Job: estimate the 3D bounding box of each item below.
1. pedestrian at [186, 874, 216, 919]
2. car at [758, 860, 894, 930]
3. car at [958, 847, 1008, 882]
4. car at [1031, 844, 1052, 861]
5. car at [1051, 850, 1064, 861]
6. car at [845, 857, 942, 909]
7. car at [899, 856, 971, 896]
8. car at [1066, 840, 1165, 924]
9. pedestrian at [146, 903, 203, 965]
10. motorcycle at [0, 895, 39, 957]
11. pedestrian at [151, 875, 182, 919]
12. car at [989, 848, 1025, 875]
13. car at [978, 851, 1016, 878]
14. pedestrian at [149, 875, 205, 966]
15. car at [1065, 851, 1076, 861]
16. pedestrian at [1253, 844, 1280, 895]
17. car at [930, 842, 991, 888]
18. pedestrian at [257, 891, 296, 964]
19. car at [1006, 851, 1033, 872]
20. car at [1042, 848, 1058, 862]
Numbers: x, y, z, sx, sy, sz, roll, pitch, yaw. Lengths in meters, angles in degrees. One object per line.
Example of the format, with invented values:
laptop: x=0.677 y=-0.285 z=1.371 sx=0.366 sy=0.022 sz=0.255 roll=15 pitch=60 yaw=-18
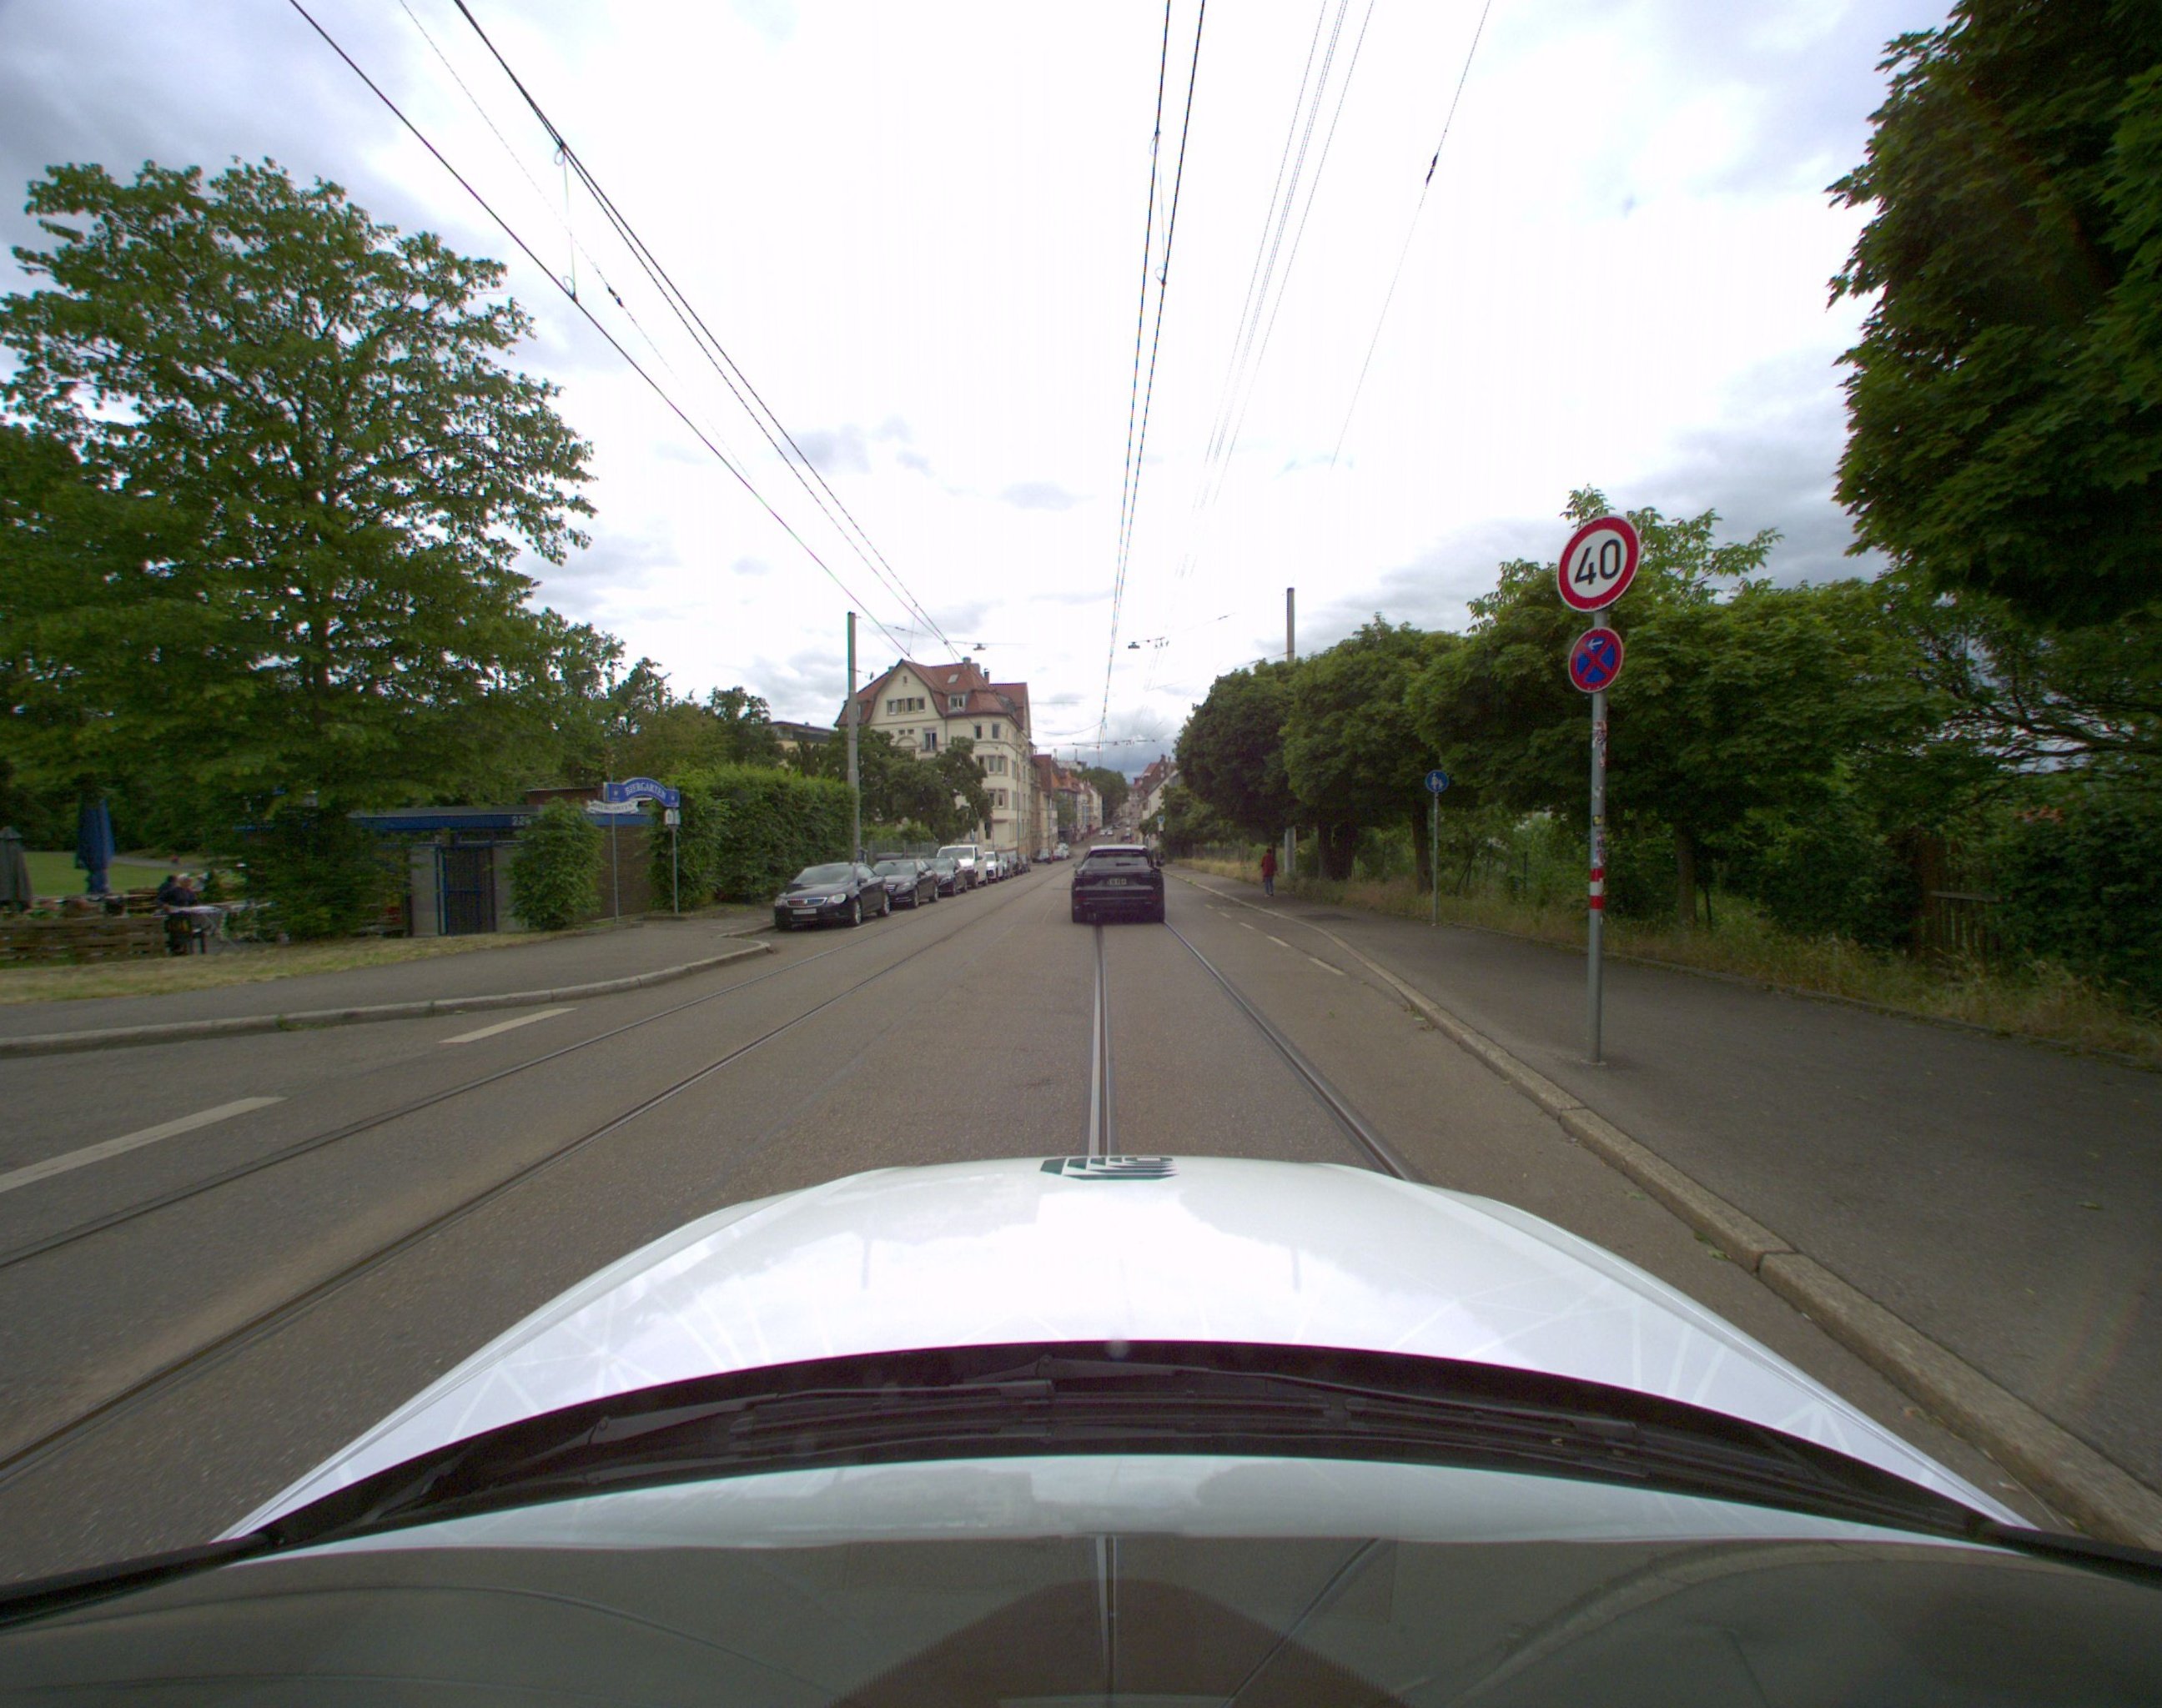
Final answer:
pedestrian: x=-29.049 y=1.396 z=26.888 sx=0.641 sy=1.424 sz=0.614 roll=0 pitch=-1 yaw=-44
car: x=-5.766 y=0.874 z=18.977 sx=1.784 sy=1.404 sz=4.161 roll=-1 pitch=-1 yaw=1
car: x=-5.078 y=0.536 z=42.836 sx=1.962 sy=1.686 sz=4.633 roll=-1 pitch=-1 yaw=0
car: x=-4.128 y=-0.123 z=85.722 sx=1.861 sy=1.646 sz=4.402 roll=-1 pitch=-1 yaw=0
car: x=-3.209 y=0.240 z=110.391 sx=1.615 sy=1.463 sz=4.033 roll=-1 pitch=-1 yaw=1
car: x=-5.537 y=0.827 z=24.625 sx=1.833 sy=1.387 sz=4.440 roll=-1 pitch=-1 yaw=1
car: x=-5.465 y=0.801 z=31.012 sx=1.833 sy=1.387 sz=4.518 roll=-1 pitch=-1 yaw=1
car: x=0.748 y=0.568 z=18.471 sx=1.986 sy=1.676 sz=4.001 roll=-1 pitch=0 yaw=1
pedestrian: x=-16.731 y=1.459 z=15.048 sx=0.669 sy=1.064 sz=0.477 roll=0 pitch=-1 yaw=-44
motorcycle: x=-23.456 y=1.561 z=17.031 sx=0.621 sy=1.305 sz=2.257 roll=-1 pitch=0 yaw=-7
pedestrian: x=-30.431 y=1.411 z=27.107 sx=0.641 sy=1.424 sz=0.614 roll=0 pitch=-1 yaw=-44
car: x=-4.920 y=0.499 z=54.600 sx=1.962 sy=1.686 sz=4.444 roll=-1 pitch=-1 yaw=0
car: x=-4.925 y=0.638 z=48.262 sx=1.732 sy=1.509 sz=3.869 roll=-1 pitch=-1 yaw=0
pedestrian: x=-17.146 y=1.236 z=15.459 sx=0.669 sy=1.664 sz=0.614 roll=0 pitch=-1 yaw=-44
car: x=-1.630 y=0.324 z=129.755 sx=1.615 sy=1.473 sz=4.556 roll=-1 pitch=-1 yaw=1
pedestrian: x=6.040 y=0.503 z=26.512 sx=0.712 sy=1.621 sz=0.719 roll=-1 pitch=0 yaw=2
car: x=-5.407 y=0.499 z=37.024 sx=1.962 sy=1.913 sz=4.735 roll=-1 pitch=-1 yaw=0
pedestrian: x=-15.492 y=1.390 z=15.684 sx=0.522 sy=1.342 sz=0.477 roll=0 pitch=-1 yaw=-44
car: x=-4.575 y=0.546 z=61.034 sx=1.615 sy=1.477 sz=4.156 roll=-1 pitch=-1 yaw=1
car: x=-3.465 y=0.112 z=91.838 sx=1.615 sy=1.463 sz=3.745 roll=-1 pitch=-1 yaw=0
